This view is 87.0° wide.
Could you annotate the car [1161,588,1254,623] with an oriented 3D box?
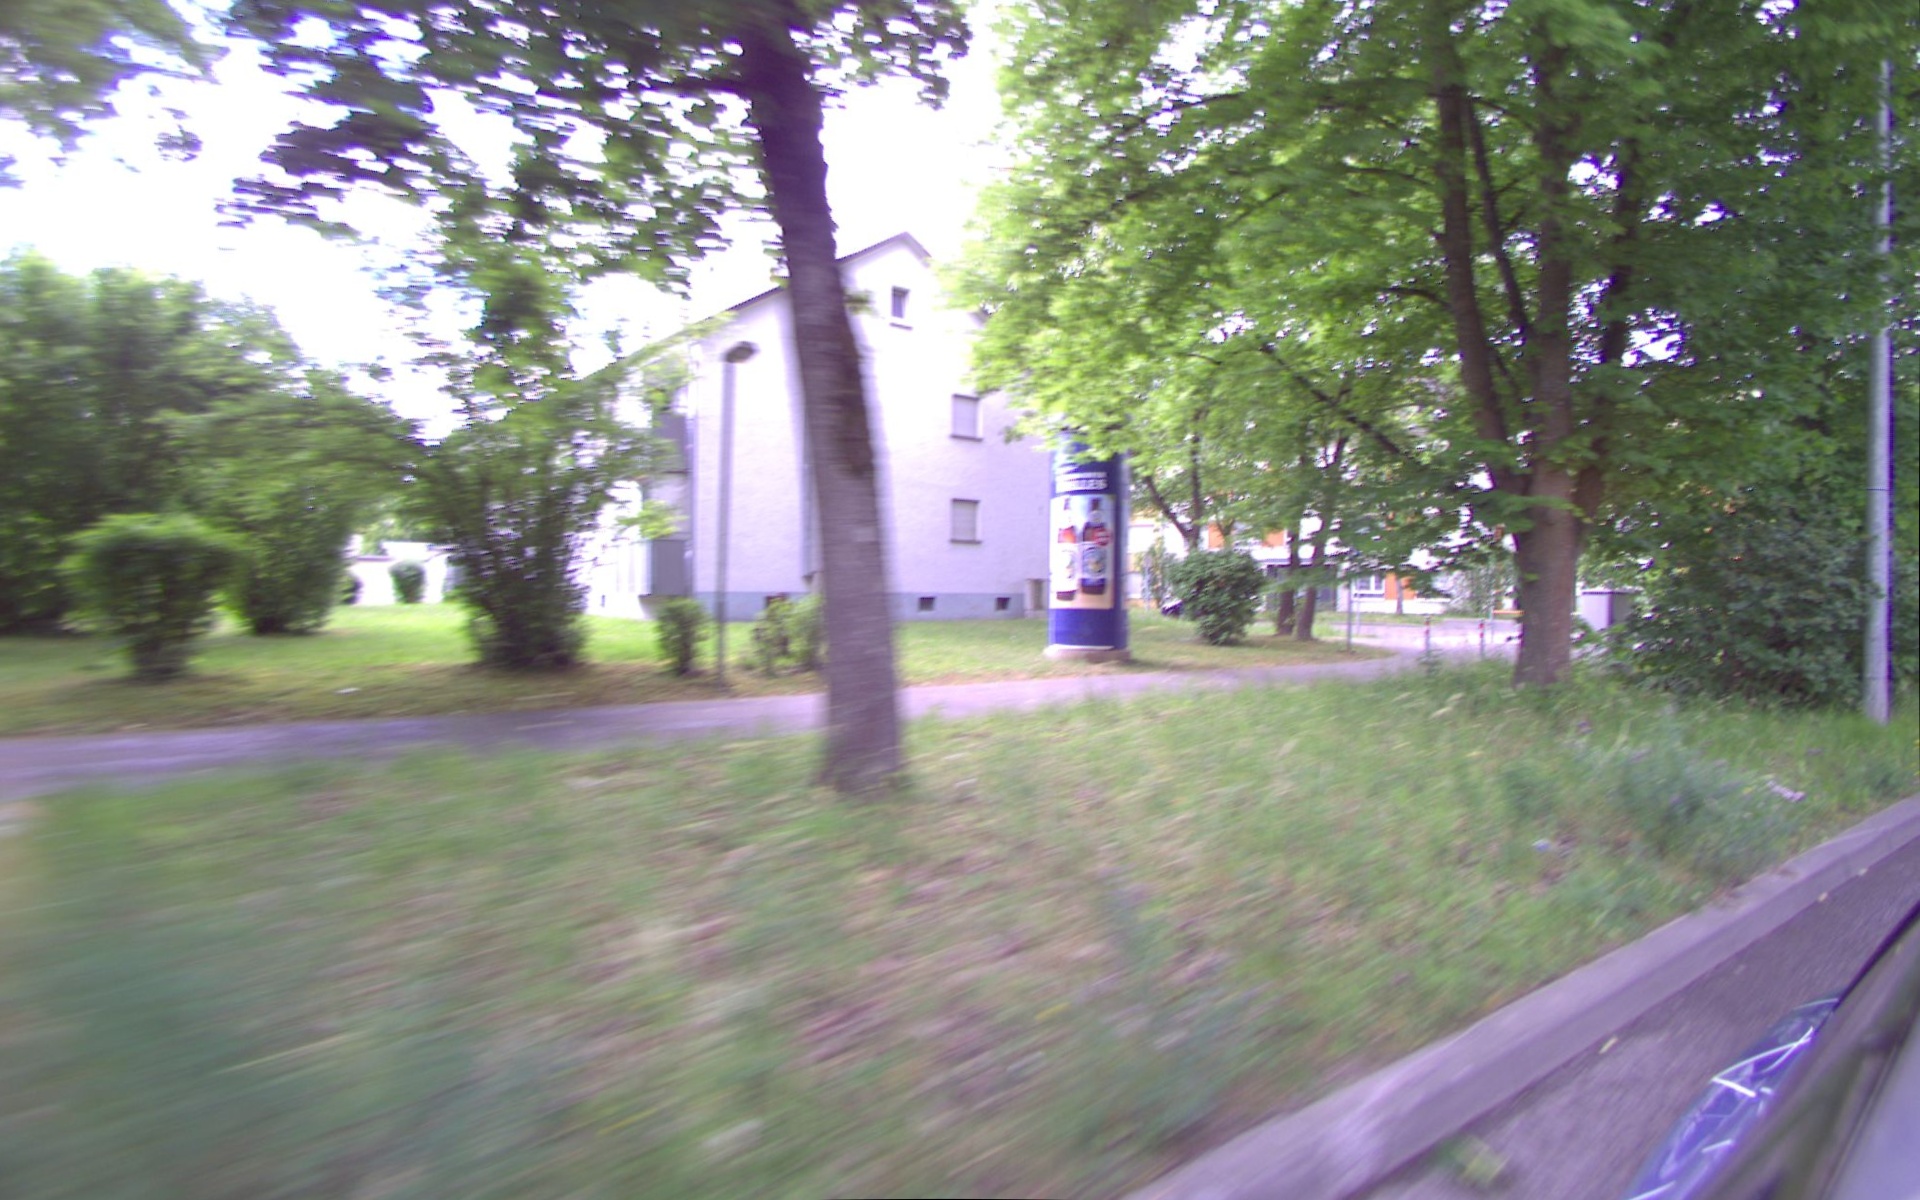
[{"bbox_3d":[11.051,0.213,45.243,3.749,1.483,1.617,0,1,35],"label":"car"}]
